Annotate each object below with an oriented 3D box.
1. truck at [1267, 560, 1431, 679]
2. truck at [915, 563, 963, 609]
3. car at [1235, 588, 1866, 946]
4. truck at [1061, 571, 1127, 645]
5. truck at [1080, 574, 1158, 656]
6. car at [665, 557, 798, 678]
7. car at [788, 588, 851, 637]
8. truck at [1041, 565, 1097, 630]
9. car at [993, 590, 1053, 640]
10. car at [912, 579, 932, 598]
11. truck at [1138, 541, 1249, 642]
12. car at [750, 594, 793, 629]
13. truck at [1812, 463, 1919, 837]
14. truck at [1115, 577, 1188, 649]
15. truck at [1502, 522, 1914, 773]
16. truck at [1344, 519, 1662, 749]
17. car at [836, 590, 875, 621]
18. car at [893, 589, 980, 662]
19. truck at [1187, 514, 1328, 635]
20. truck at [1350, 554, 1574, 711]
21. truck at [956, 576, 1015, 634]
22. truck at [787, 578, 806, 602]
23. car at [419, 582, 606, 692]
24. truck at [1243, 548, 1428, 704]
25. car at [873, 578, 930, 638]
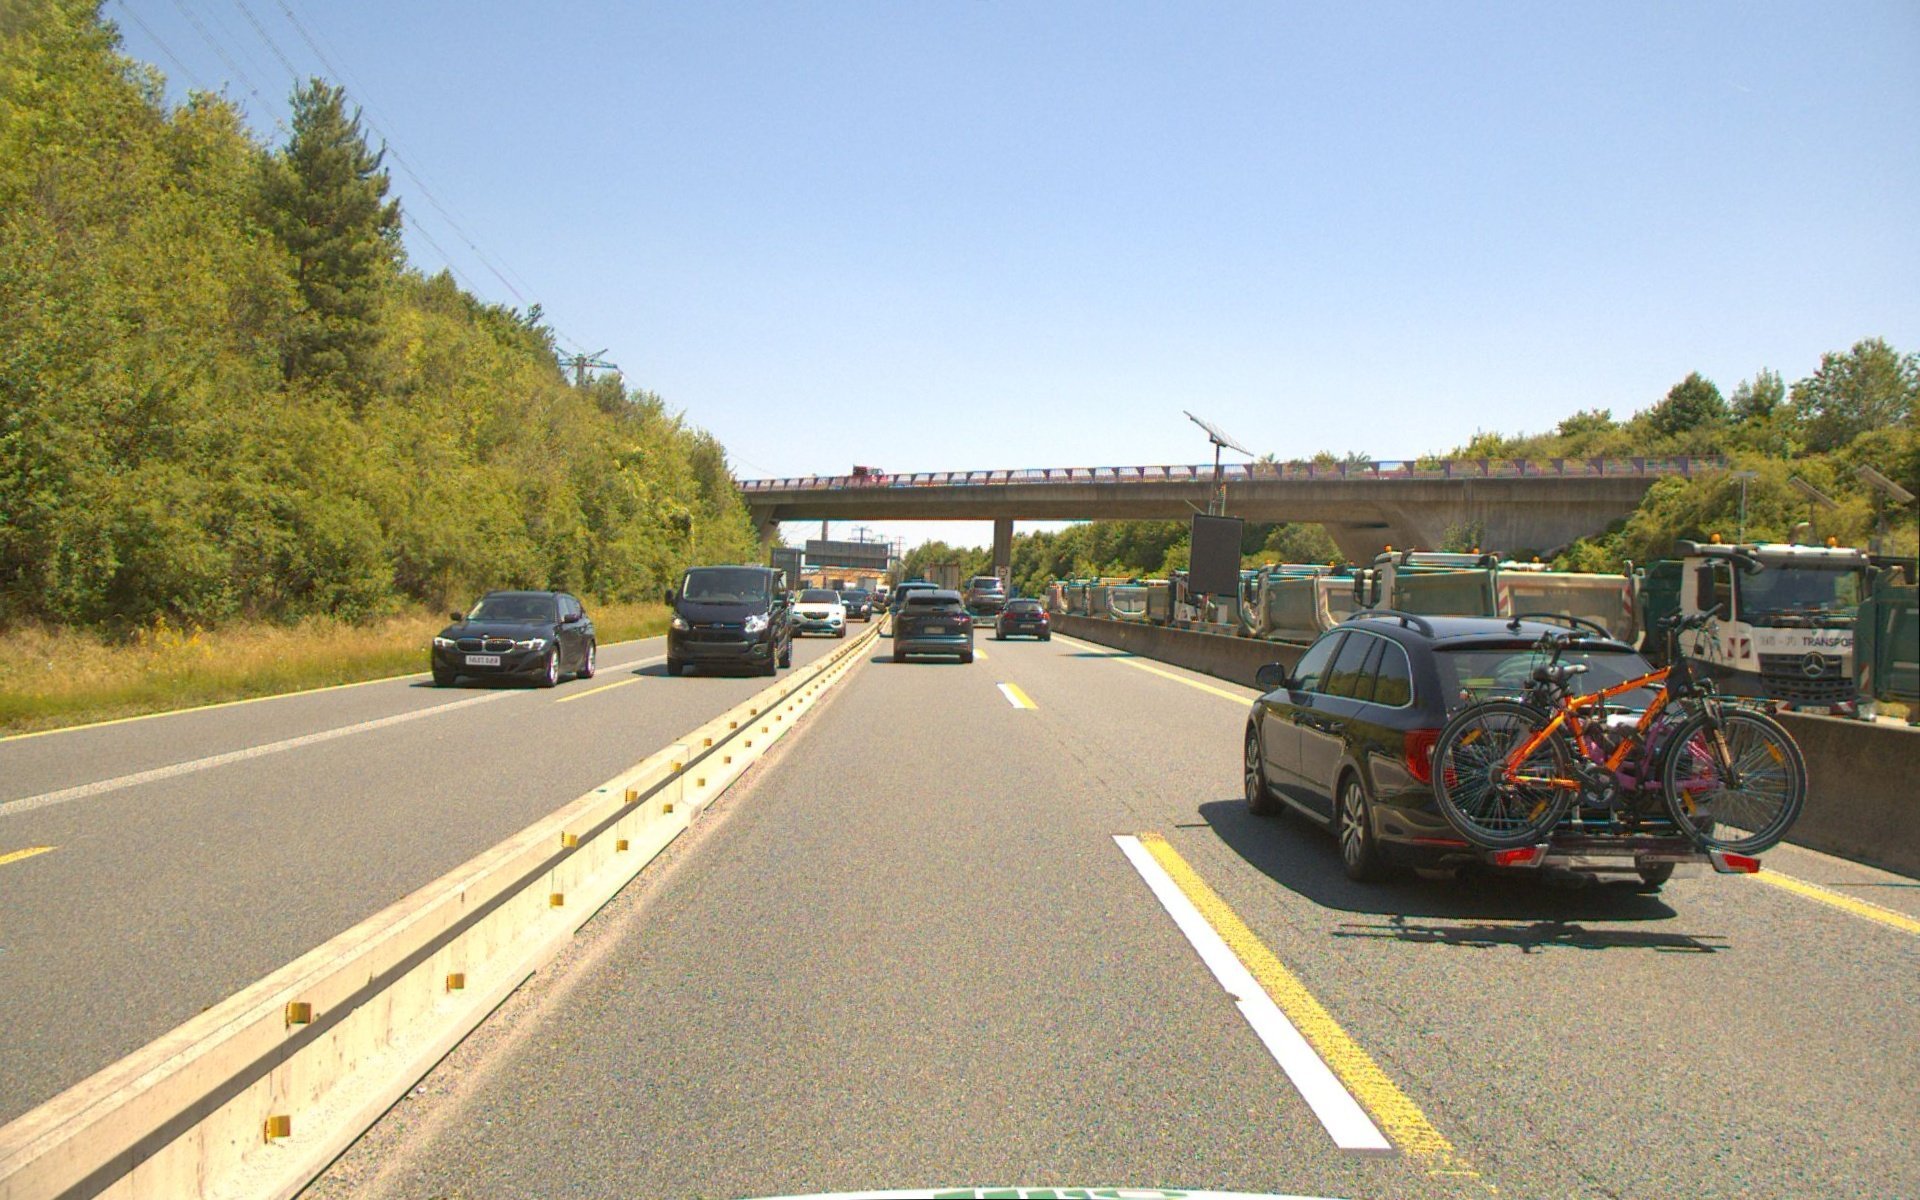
[{"bbox_3d":[12.336,0.567,53.459,2.633,3.437,9.598,1,0,-2],"label":"truck"},{"bbox_3d":[-1.955,-1.217,145.991,3.229,3.912,10.096,1,0,-6],"label":"truck"},{"bbox_3d":[2.989,0.739,9.678,1.860,1.516,4.946,1,0,-1],"label":"car"},{"bbox_3d":[7.523,0.420,94.033,2.633,3.923,9.321,1,0,-2],"label":"truck"},{"bbox_3d":[7.824,0.684,82.622,2.633,3.826,9.321,1,0,-2],"label":"truck"},{"bbox_3d":[-4.214,0.298,31.176,1.852,2.049,4.817,1,0,-1],"label":"car"},{"bbox_3d":[-4.783,0.412,56.799,1.806,1.560,4.670,2,0,-1],"label":"car"},{"bbox_3d":[6.953,-0.170,106.571,2.633,3.910,9.321,1,0,-2],"label":"truck"},{"bbox_3d":[2.161,0.511,57.573,1.860,1.613,4.275,1,0,-1],"label":"car"},{"bbox_3d":[-4.161,-1.228,180.940,1.863,2.003,4.270,1,0,-7],"label":"car"},{"bbox_3d":[8.997,-0.315,64.797,2.633,3.619,9.321,1,0,-2],"label":"truck"},{"bbox_3d":[-8.969,0.536,78.891,1.665,1.592,3.994,2,0,-1],"label":"car"},{"bbox_3d":[10.615,0.514,13.145,2.487,3.619,9.600,1,0,-1],"label":"truck"},{"bbox_3d":[10.572,0.671,92.191,2.633,3.792,9.321,1,0,-2],"label":"truck"},{"bbox_3d":[12.534,0.687,29.034,2.633,3.619,9.600,1,0,-1],"label":"truck"},{"bbox_3d":[9.813,0.531,31.296,2.633,3.619,9.600,1,0,-1],"label":"truck"},{"bbox_3d":[-5.559,0.263,88.148,1.806,1.560,4.670,2,0,-1],"label":"car"},{"bbox_3d":[-0.523,0.552,38.094,1.860,1.531,4.275,1,0,-1],"label":"car"},{"bbox_3d":[9.724,-0.788,55.124,2.633,3.619,9.321,1,0,-2],"label":"truck"},{"bbox_3d":[12.332,0.711,41.696,2.632,3.437,9.601,1,0,0],"label":"truck"},{"bbox_3d":[1.173,0.184,79.308,2.357,2.603,7.497,1,0,-2],"label":"truck"},{"bbox_3d":[-22.867,-1.352,231.162,2.460,3.242,10.096,1,0,-6],"label":"truck"},{"bbox_3d":[-6.977,0.531,26.261,1.757,1.552,4.530,2,0,-1],"label":"car"},{"bbox_3d":[9.683,0.606,43.799,2.632,3.619,9.405,1,0,-1],"label":"truck"},{"bbox_3d":[-2.054,0.270,58.944,1.860,2.003,4.275,1,0,-1],"label":"car"}]
